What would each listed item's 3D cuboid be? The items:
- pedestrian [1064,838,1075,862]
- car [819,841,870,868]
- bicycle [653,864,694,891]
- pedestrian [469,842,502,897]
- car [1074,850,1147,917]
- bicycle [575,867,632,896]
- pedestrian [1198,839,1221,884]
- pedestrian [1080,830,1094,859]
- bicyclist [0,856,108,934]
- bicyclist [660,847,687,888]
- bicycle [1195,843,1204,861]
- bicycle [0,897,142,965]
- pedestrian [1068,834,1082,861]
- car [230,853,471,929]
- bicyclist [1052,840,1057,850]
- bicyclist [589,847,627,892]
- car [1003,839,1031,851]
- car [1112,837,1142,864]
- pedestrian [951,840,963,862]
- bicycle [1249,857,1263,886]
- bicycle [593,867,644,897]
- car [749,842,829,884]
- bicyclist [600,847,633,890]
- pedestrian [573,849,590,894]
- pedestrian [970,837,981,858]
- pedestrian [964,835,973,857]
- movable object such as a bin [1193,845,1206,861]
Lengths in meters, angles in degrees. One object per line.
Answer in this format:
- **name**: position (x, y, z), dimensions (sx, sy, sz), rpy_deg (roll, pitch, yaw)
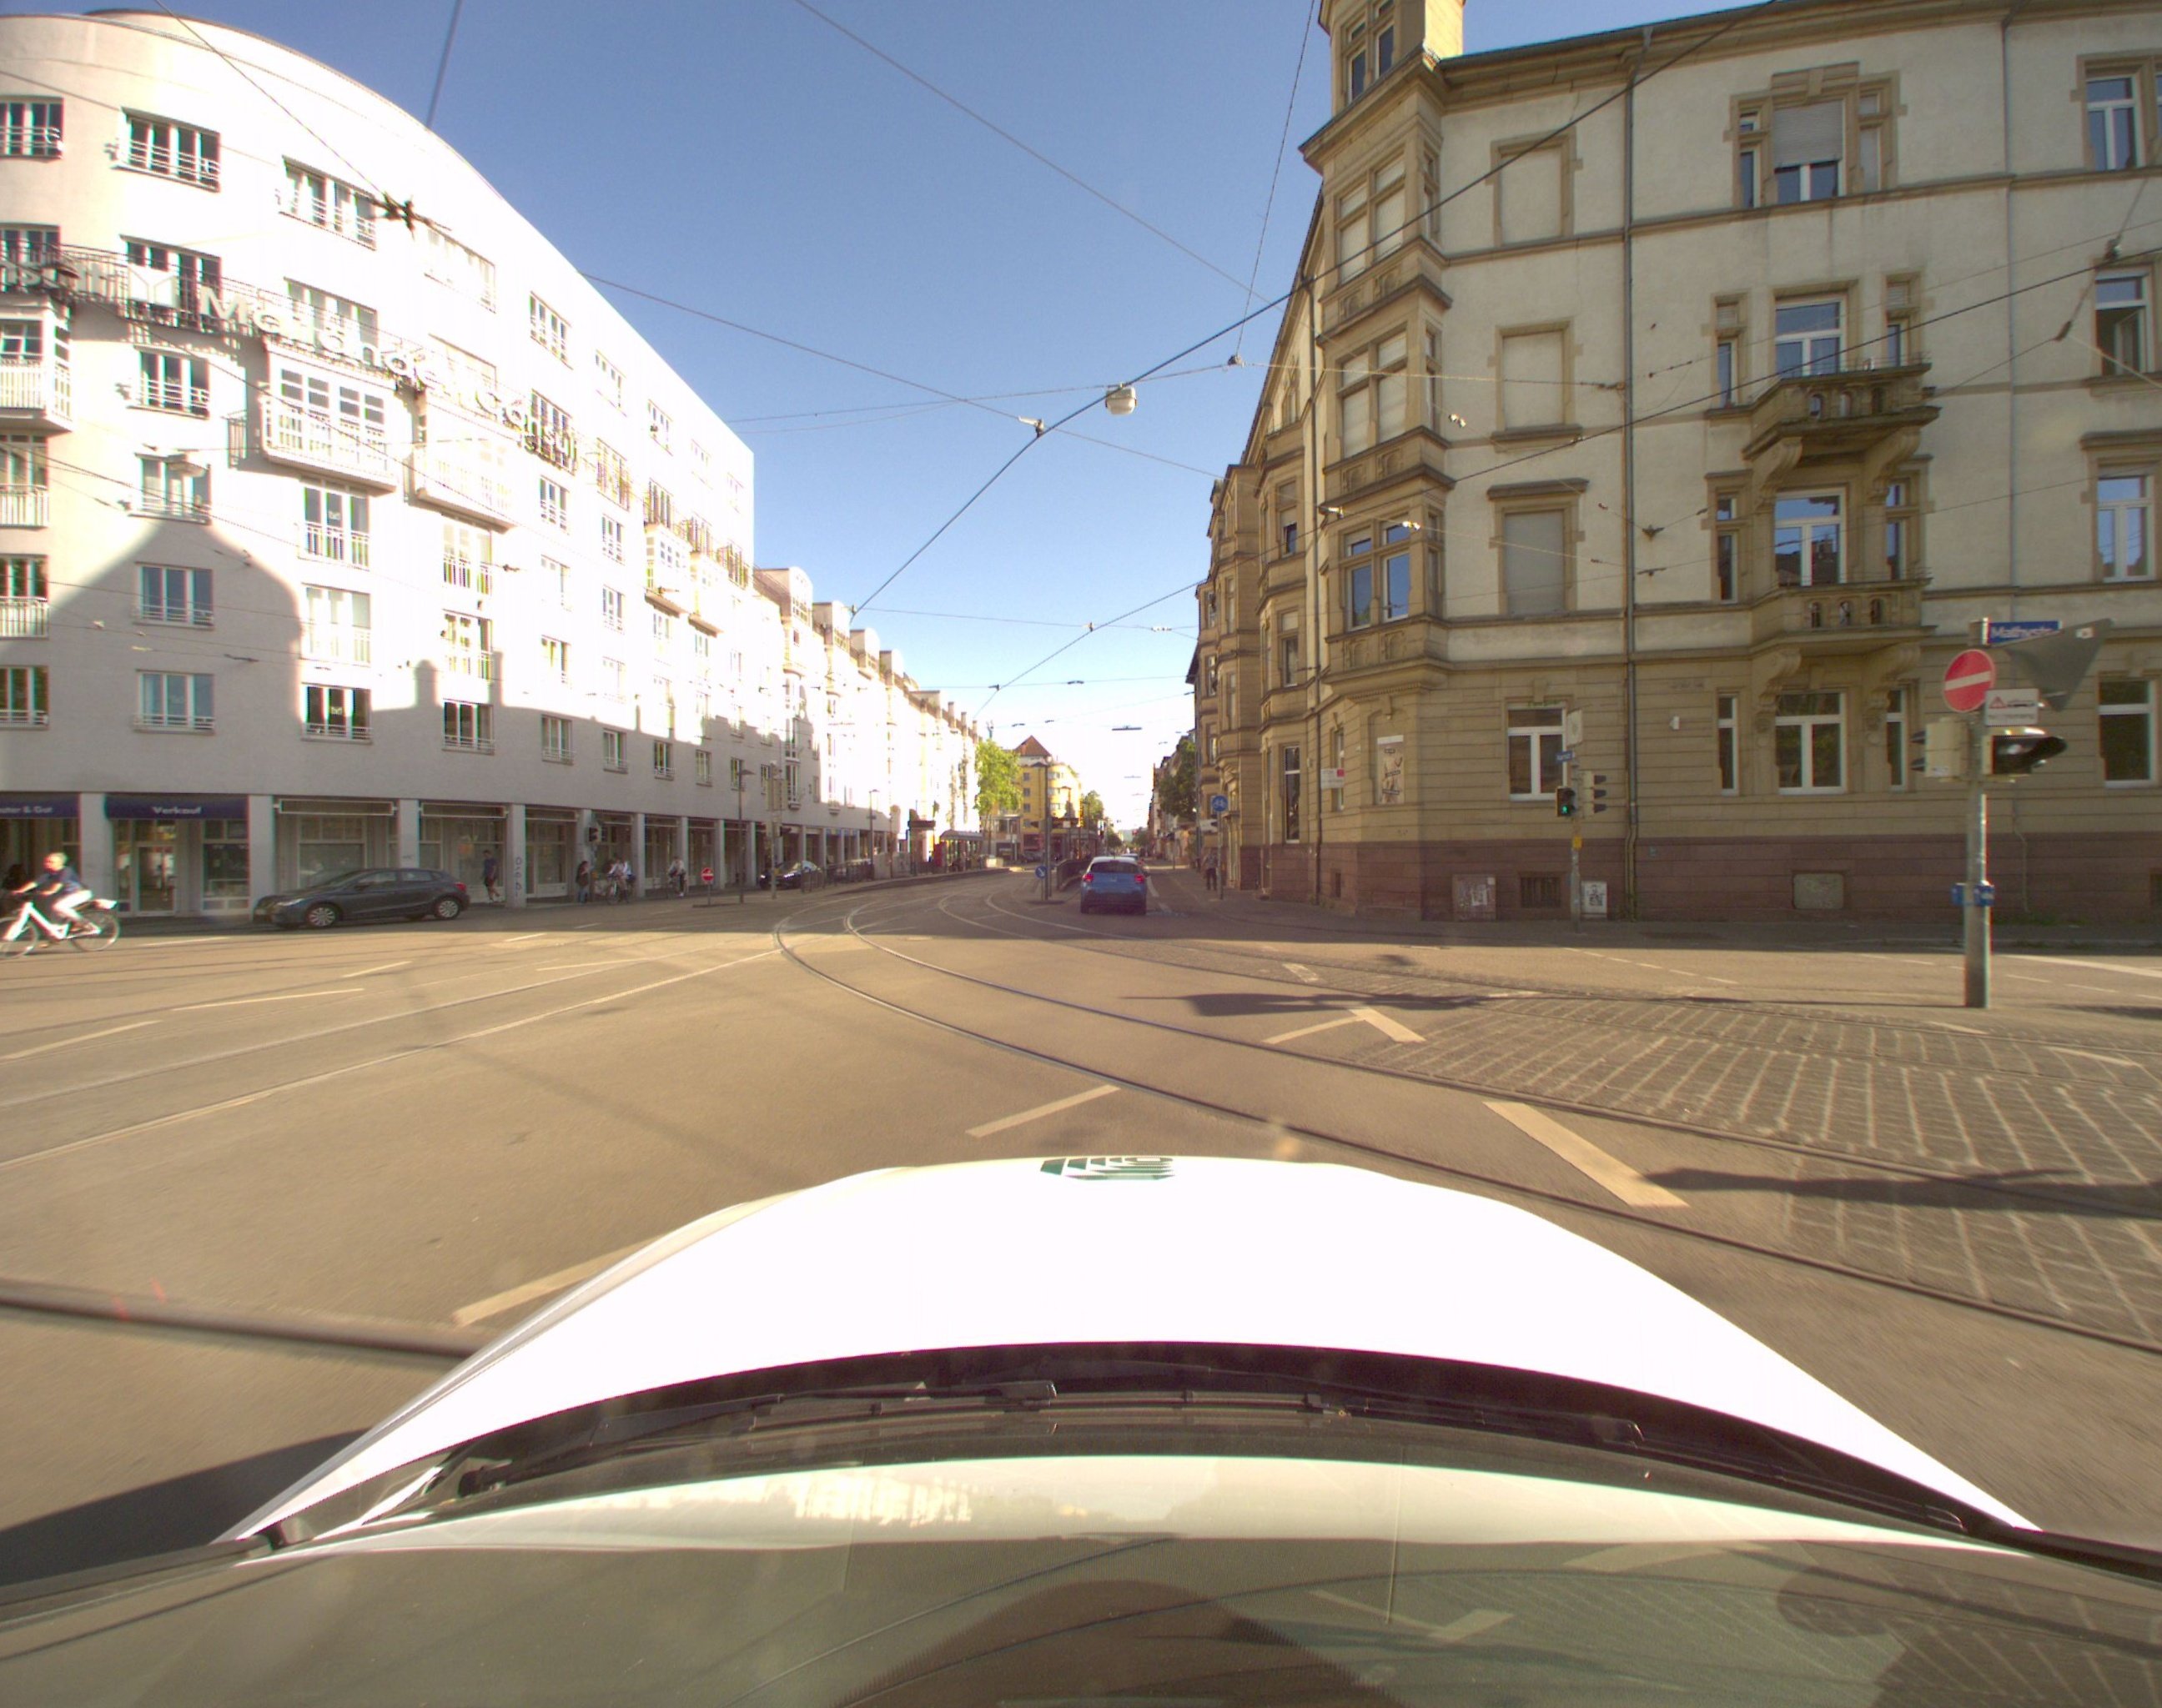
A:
- **pedestrian**: position (-0.747, -0.275, 53.649), dimensions (0.579, 1.561, 0.473), rpy_deg (2, 3, 39)
- **car**: position (-14.833, 0.005, 51.408), dimensions (1.721, 1.514, 4.409), rpy_deg (0, 2, 3)
- **bicycle**: position (-16.490, 0.948, 33.017), dimensions (0.591, 0.972, 2.049), rpy_deg (0, 1, 2)
- **pedestrian**: position (-20.813, 0.529, 28.464), dimensions (0.457, 1.832, 0.748), rpy_deg (1, 4, 12)
- **car**: position (0.860, 0.711, 21.955), dimensions (1.773, 1.450, 3.659), rpy_deg (2, 3, 4)
- **bicycle**: position (-18.486, 1.053, 31.575), dimensions (0.669, 0.979, 1.773), rpy_deg (1, 3, 31)
- **pedestrian**: position (5.256, 0.293, 33.469), dimensions (0.777, 1.749, 1.094), rpy_deg (0, 4, 1)
- **pedestrian**: position (0.359, -0.590, 49.286), dimensions (0.632, 1.697, 0.936), rpy_deg (2, 1, 11)
- **bicyclist**: position (-17.842, 0.694, 14.166), dimensions (0.586, 1.285, 0.992), rpy_deg (0, 1, 1)
- **bicyclist**: position (-16.473, 0.532, 32.911), dimensions (0.586, 1.585, 0.896), rpy_deg (0, 1, 2)
- **bicycle**: position (7.807, -0.131, 53.648), dimensions (0.457, 1.122, 1.776), rpy_deg (-1, 2, 4)
- **bicycle**: position (-17.840, 1.310, 14.254), dimensions (0.591, 0.972, 1.855), rpy_deg (0, 1, 2)
- **pedestrian**: position (-0.404, -0.423, 54.179), dimensions (0.710, 1.777, 0.569), rpy_deg (2, 3, 39)
- **car**: position (-18.153, 0.830, 20.501), dimensions (1.977, 1.595, 4.021), rpy_deg (0, 2, 21)
- **bicyclist**: position (-3.966, -1.376, 123.097), dimensions (0.669, 1.556, 0.779), rpy_deg (0, 2, 5)
- **bicyclist**: position (-18.381, 0.585, 31.639), dimensions (0.715, 1.695, 1.036), rpy_deg (1, 2, 32)
- **car**: position (-9.545, -1.372, 121.285), dimensions (3.973, 1.674, 1.958), rpy_deg (0, 3, 0)
- **car**: position (3.288, -0.296, 57.819), dimensions (1.985, 1.742, 4.005), rpy_deg (2, 2, 4)
- **pedestrian**: position (-8.715, -0.209, 57.377), dimensions (0.728, 1.527, 0.744), rpy_deg (1, 3, 3)
- **bicycle**: position (6.766, 0.654, 31.514), dimensions (0.254, 1.052, 1.771), rpy_deg (2, 1, 4)
- **bicycle**: position (-16.563, 0.982, 29.229), dimensions (0.591, 0.972, 2.013), rpy_deg (0, 1, 2)
- **car**: position (-14.910, 0.414, 41.939), dimensions (2.218, 1.910, 4.614), rpy_deg (0, 2, 3)
- **bicyclist**: position (-16.587, 0.495, 29.096), dimensions (0.586, 1.488, 0.928), rpy_deg (0, 1, 2)
- **pedestrian**: position (-18.006, 0.624, 29.352), dimensions (0.444, 1.533, 0.677), rpy_deg (-2, 4, -33)
- **pedestrian**: position (-7.947, -0.498, 61.404), dimensions (0.728, 1.558, 0.744), rpy_deg (1, 3, 3)
- **pedestrian**: position (-10.595, -0.737, 76.940), dimensions (0.666, 2.013, 0.709), rpy_deg (2, 1, 5)
- **movable object such as a bin**: position (8.140, -0.044, 55.880), dimensions (0.745, 1.036, 0.755), rpy_deg (-3, 2, 4)
